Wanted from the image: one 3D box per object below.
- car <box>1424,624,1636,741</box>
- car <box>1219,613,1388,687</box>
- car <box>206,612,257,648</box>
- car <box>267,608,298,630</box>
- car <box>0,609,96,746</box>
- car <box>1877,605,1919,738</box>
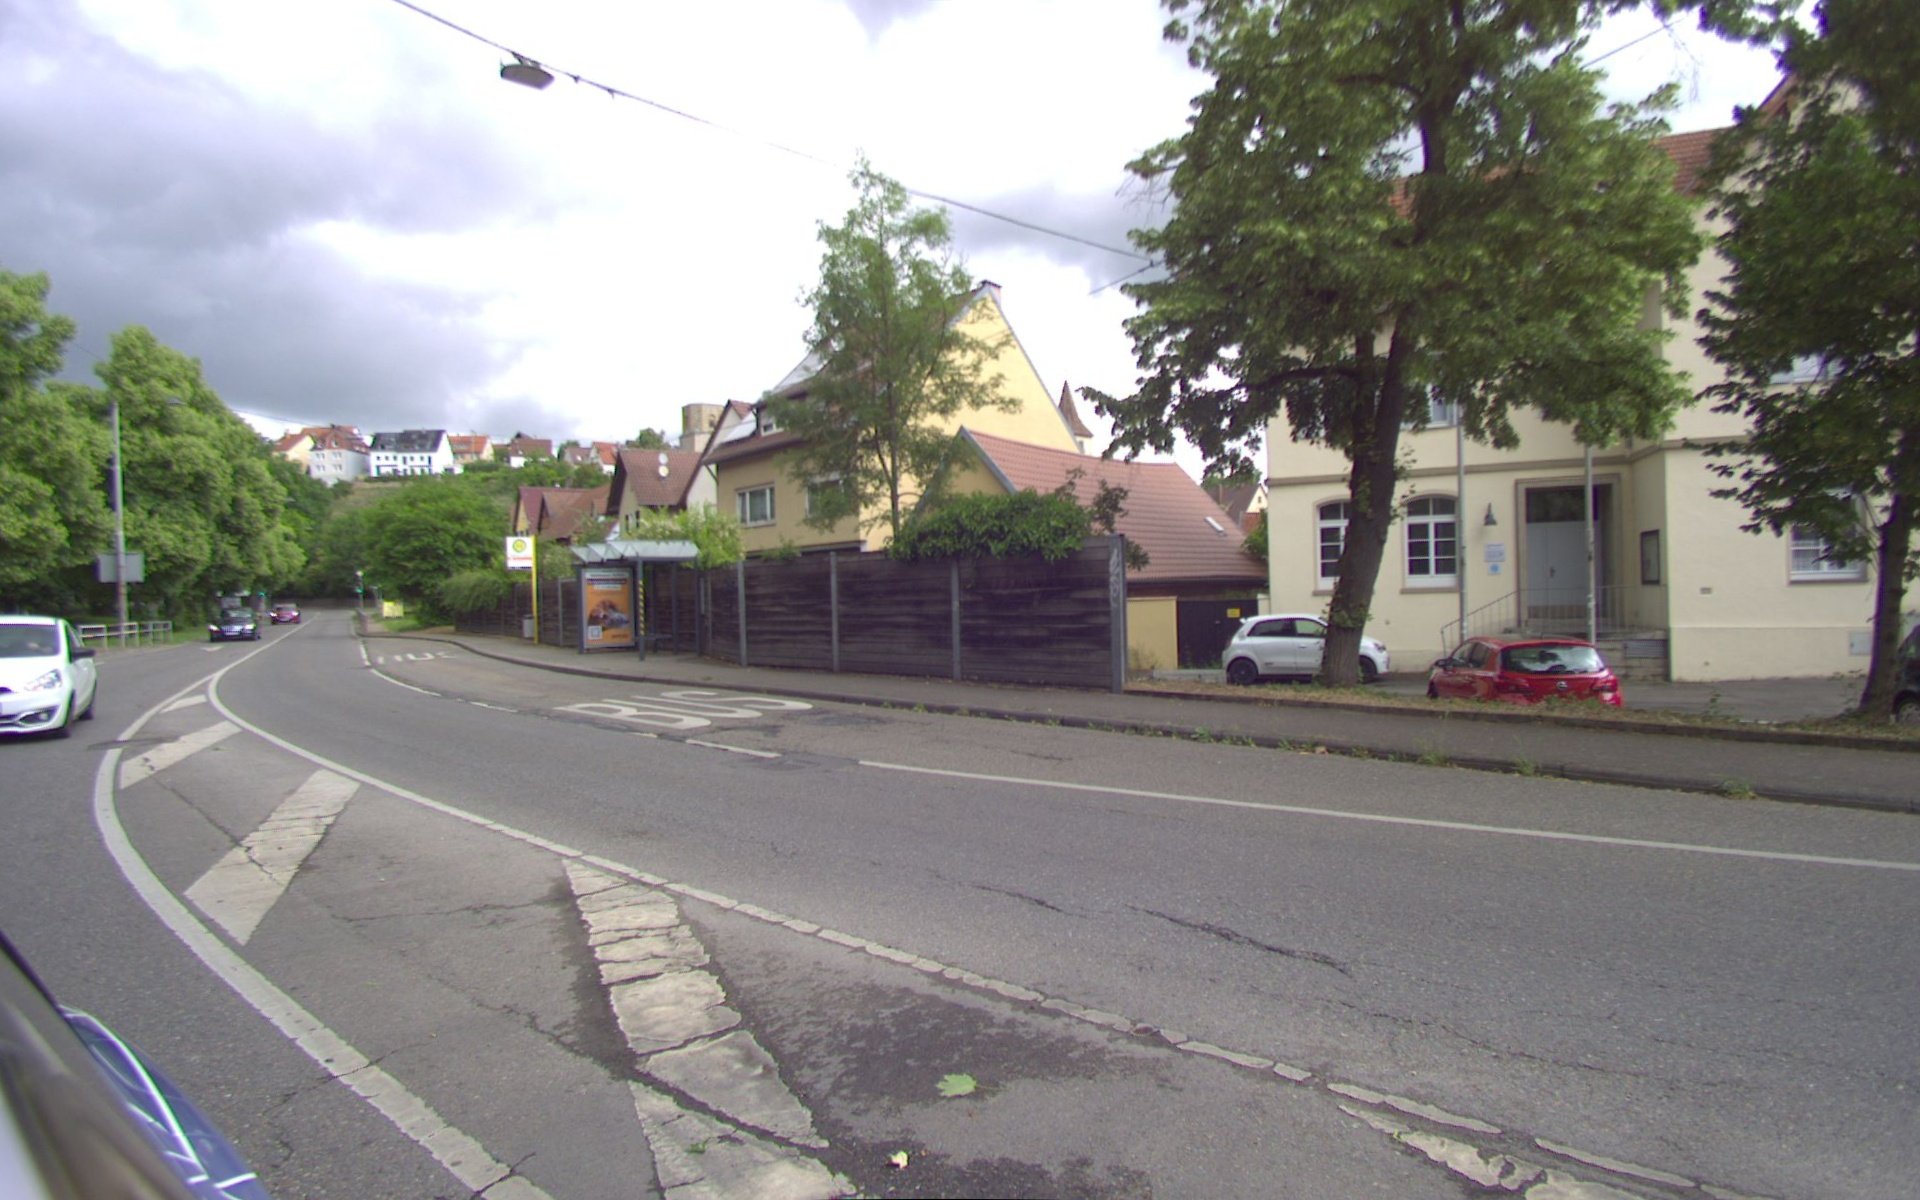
[{"bbox_3d":[8.120,1.103,14.770,1.590,1.389,3.544,-1,0,10],"label":"car"},{"bbox_3d":[7.740,1.106,22.926,3.487,1.528,1.581,-1,0,20],"label":"car"},{"bbox_3d":[-33.891,1.354,47.165,1.696,1.559,3.792,-1,0,-33],"label":"car"},{"bbox_3d":[-54.211,1.492,81.009,1.798,1.685,4.070,-1,0,-31],"label":"car"},{"bbox_3d":[-12.022,0.891,12.637,1.593,1.525,3.613,-1,0,-36],"label":"car"},{"bbox_3d":[12.693,0.887,11.588,1.586,1.644,3.093,-1,0,2],"label":"car"}]
